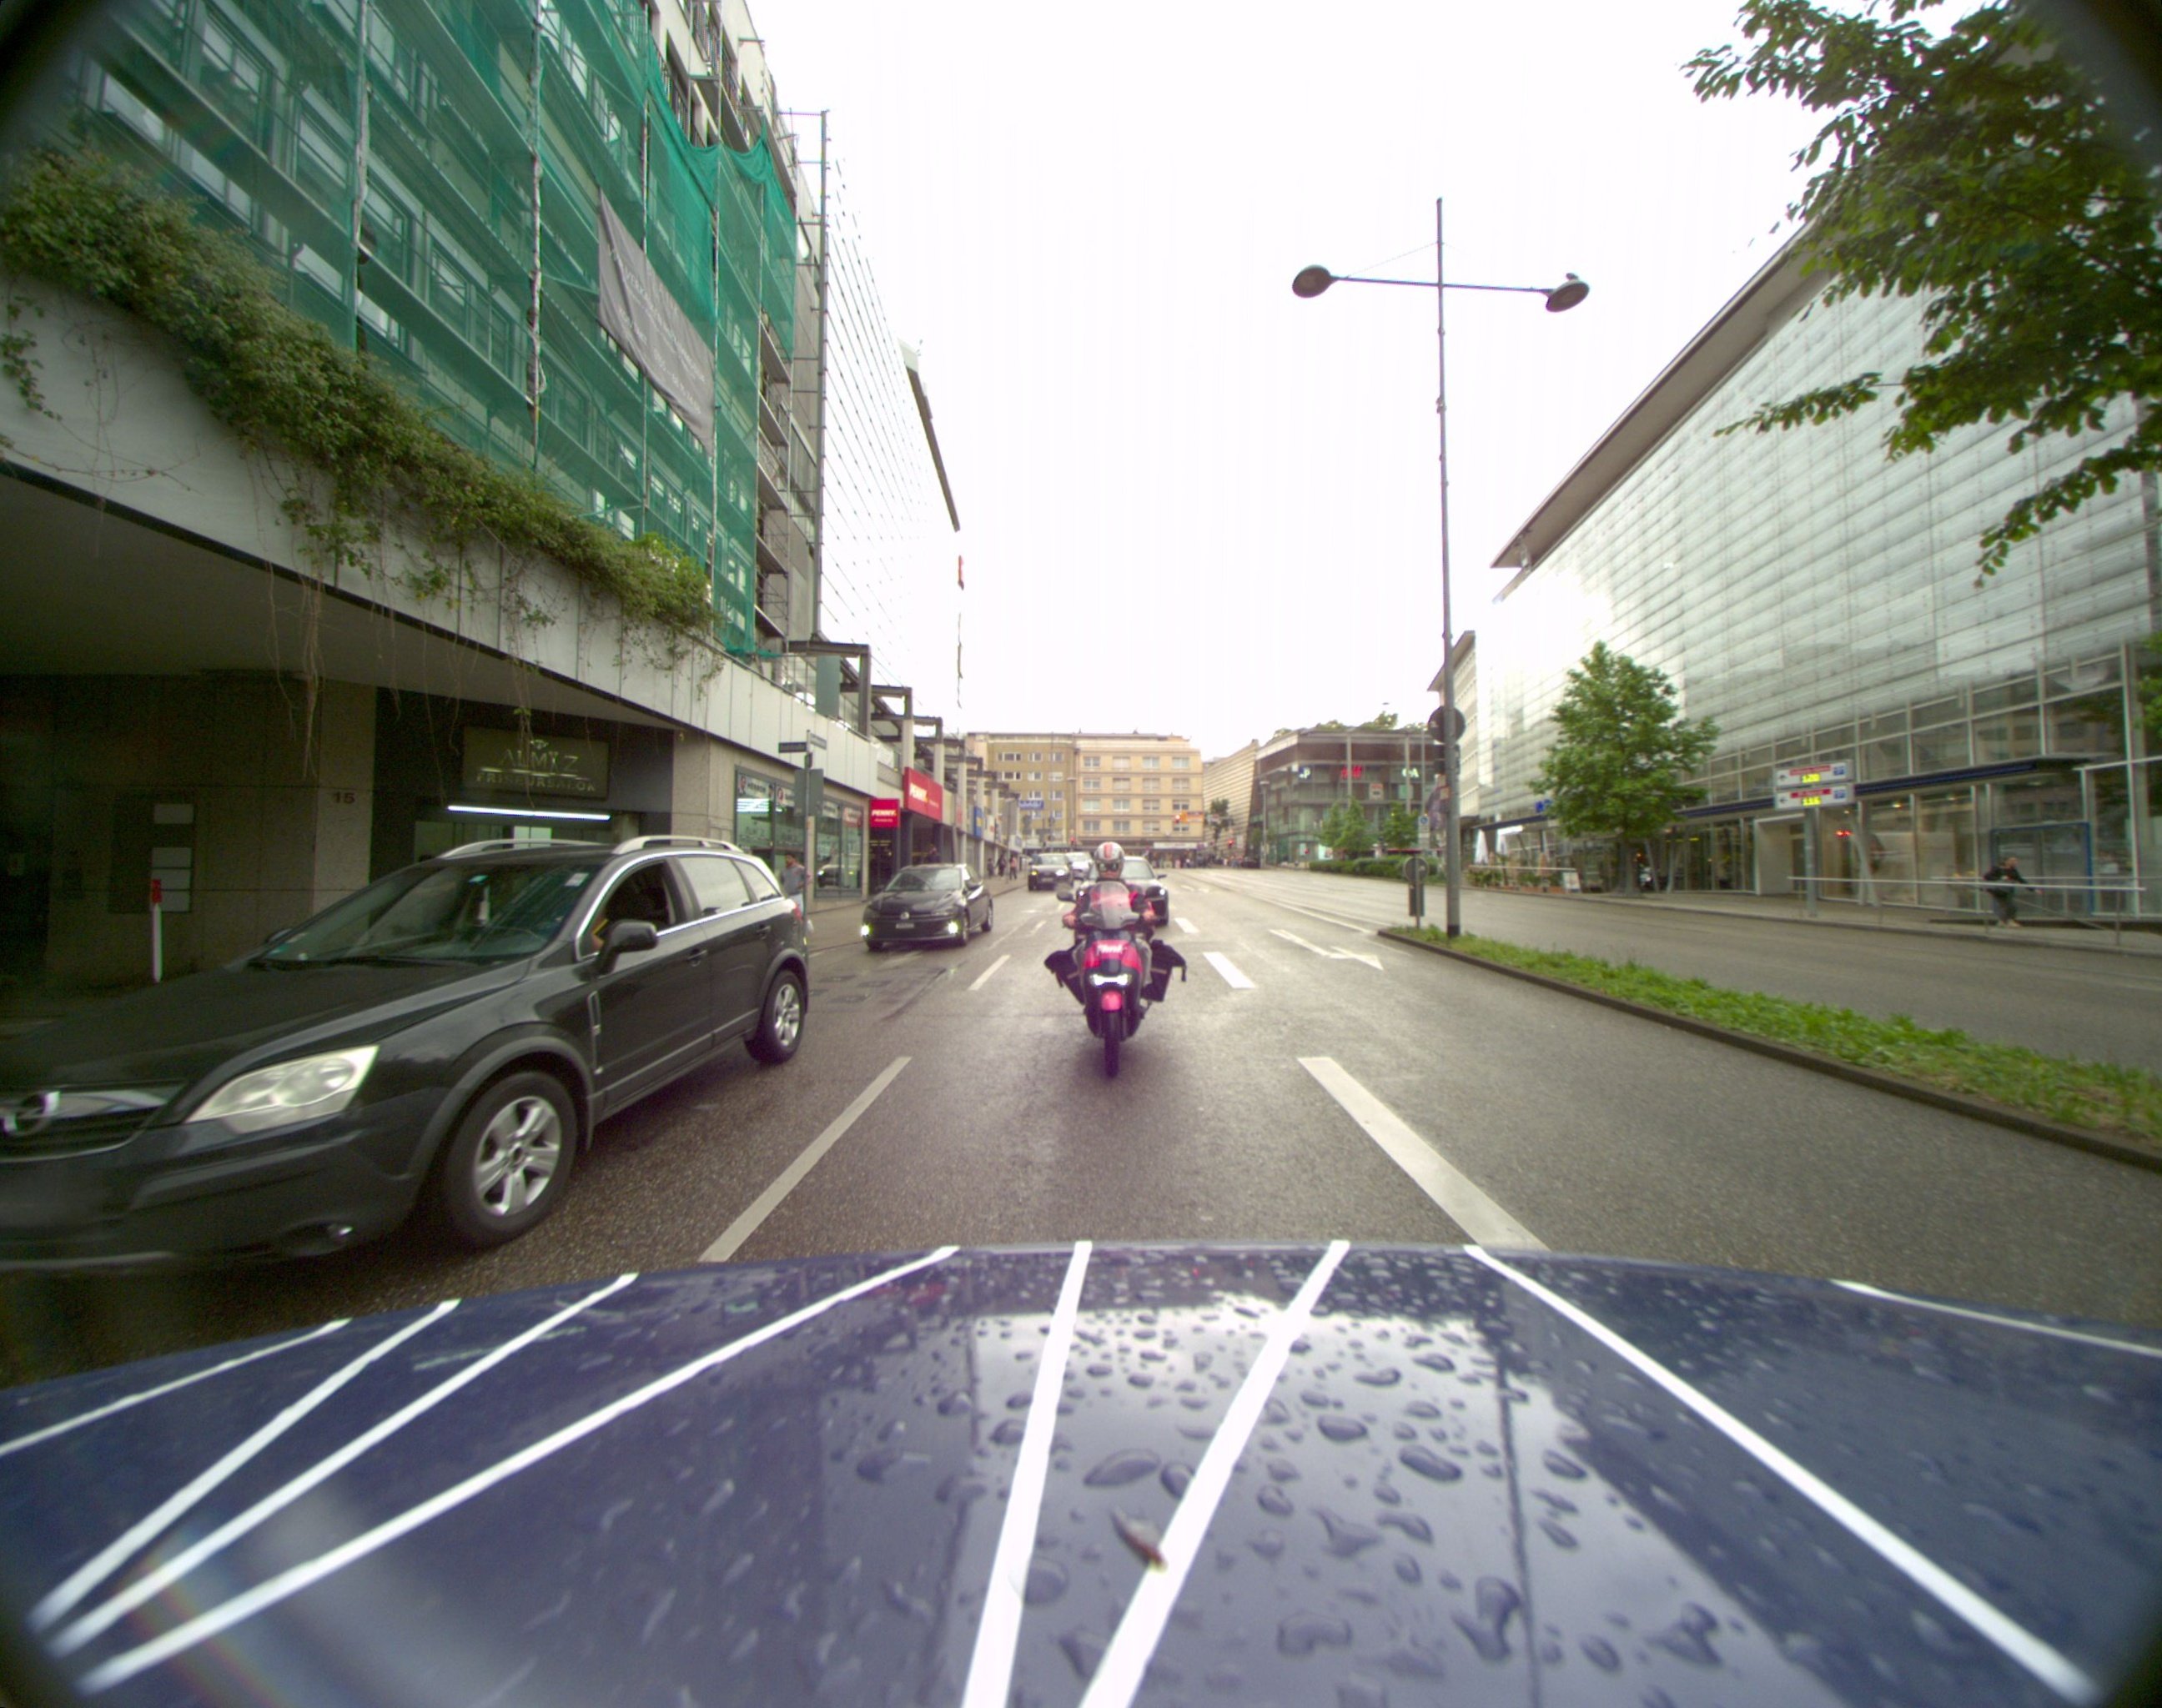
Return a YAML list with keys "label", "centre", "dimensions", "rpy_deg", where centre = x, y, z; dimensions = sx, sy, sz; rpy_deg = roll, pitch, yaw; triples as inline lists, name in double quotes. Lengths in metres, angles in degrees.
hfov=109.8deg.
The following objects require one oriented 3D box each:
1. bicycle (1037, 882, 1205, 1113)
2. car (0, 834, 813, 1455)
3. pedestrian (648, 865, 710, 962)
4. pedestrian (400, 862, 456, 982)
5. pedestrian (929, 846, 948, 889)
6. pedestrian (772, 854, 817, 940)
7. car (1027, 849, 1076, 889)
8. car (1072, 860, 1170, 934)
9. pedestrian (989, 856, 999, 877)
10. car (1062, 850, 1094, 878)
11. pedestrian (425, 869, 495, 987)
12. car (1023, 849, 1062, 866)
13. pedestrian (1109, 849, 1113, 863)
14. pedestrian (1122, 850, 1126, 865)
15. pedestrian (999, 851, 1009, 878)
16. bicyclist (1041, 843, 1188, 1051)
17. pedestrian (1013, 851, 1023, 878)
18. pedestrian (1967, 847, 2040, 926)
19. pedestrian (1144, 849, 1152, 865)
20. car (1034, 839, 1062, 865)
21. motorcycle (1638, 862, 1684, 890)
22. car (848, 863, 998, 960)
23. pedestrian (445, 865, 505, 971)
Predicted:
- label: "bicycle"
  centre: [0.270, 0.974, 6.322]
  dimensions: [1.034, 1.279, 2.948]
  rpy_deg: [-2, 1, 1]
- label: "car"
  centre: [-3.212, 0.870, 4.262]
  dimensions: [1.764, 1.755, 4.164]
  rpy_deg: [-2, -1, 2]
- label: "pedestrian"
  centre: [-7.119, 1.033, 13.485]
  dimensions: [0.639, 1.633, 0.733]
  rpy_deg: [-2, 2, -3]
- label: "pedestrian"
  centre: [-9.619, 0.977, 11.192]
  dimensions: [0.466, 1.698, 0.484]
  rpy_deg: [0, 2, 42]
- label: "pedestrian"
  centre: [-5.665, 0.519, 30.184]
  dimensions: [0.578, 1.669, 0.511]
  rpy_deg: [1, 2, 21]
- label: "pedestrian"
  centre: [-5.547, 0.824, 14.742]
  dimensions: [0.676, 1.618, 0.579]
  rpy_deg: [0, 2, -6]
- label: "car"
  centre: [-1.248, 0.631, 34.148]
  dimensions: [1.841, 1.598, 4.164]
  rpy_deg: [-2, 1, 2]
- label: "car"
  centre: [0.887, 0.877, 17.097]
  dimensions: [1.890, 1.391, 4.164]
  rpy_deg: [-2, 0, 2]
- label: "pedestrian"
  centre: [-4.867, 0.716, 42.499]
  dimensions: [0.510, 1.160, 0.579]
  rpy_deg: [0, 2, -1]
- label: "car"
  centre: [-0.140, 0.606, 45.379]
  dimensions: [1.675, 1.520, 4.165]
  rpy_deg: [-2, -1, 2]
- label: "pedestrian"
  centre: [-8.877, 1.029, 10.887]
  dimensions: [0.640, 1.586, 0.576]
  rpy_deg: [-3, 2, -32]
- label: "car"
  centre: [-4.595, 0.369, 91.636]
  dimensions: [4.584, 2.002, 2.000]
  rpy_deg: [0, 1, -1]
- label: "pedestrian"
  centre: [3.365, 0.213, 84.345]
  dimensions: [0.428, 1.620, 0.602]
  rpy_deg: [1, 1, 5]
- label: "pedestrian"
  centre: [4.839, 0.396, 86.314]
  dimensions: [0.428, 1.620, 0.602]
  rpy_deg: [1, 1, 3]
- label: "pedestrian"
  centre: [-4.301, 0.575, 42.307]
  dimensions: [0.510, 1.492, 0.579]
  rpy_deg: [0, 2, -1]
- label: "bicyclist"
  centre: [0.261, 0.702, 6.157]
  dimensions: [1.063, 1.534, 0.825]
  rpy_deg: [-2, 2, 0]
- label: "pedestrian"
  centre: [-3.481, 0.584, 42.101]
  dimensions: [0.510, 1.492, 0.579]
  rpy_deg: [0, 2, -1]
- label: "pedestrian"
  centre: [19.888, 0.686, 16.407]
  dimensions: [0.635, 1.628, 0.790]
  rpy_deg: [-2, 2, 8]
- label: "pedestrian"
  centre: [7.565, 0.380, 85.804]
  dimensions: [0.627, 1.764, 0.687]
  rpy_deg: [-3, 2, -20]
- label: "car"
  centre: [-2.552, -0.189, 59.975]
  dimensions: [1.605, 2.002, 3.401]
  rpy_deg: [-2, 1, 7]
- label: "motorcycle"
  centre: [28.101, 1.069, 36.847]
  dimensions: [1.707, 1.319, 0.620]
  rpy_deg: [0, 1, 1]
- label: "car"
  centre: [-2.790, 0.960, 14.370]
  dimensions: [1.759, 1.495, 4.165]
  rpy_deg: [-2, -1, 2]
- label: "pedestrian"
  centre: [-10.850, 1.105, 13.604]
  dimensions: [0.771, 1.805, 0.745]
  rpy_deg: [1, 2, 44]
